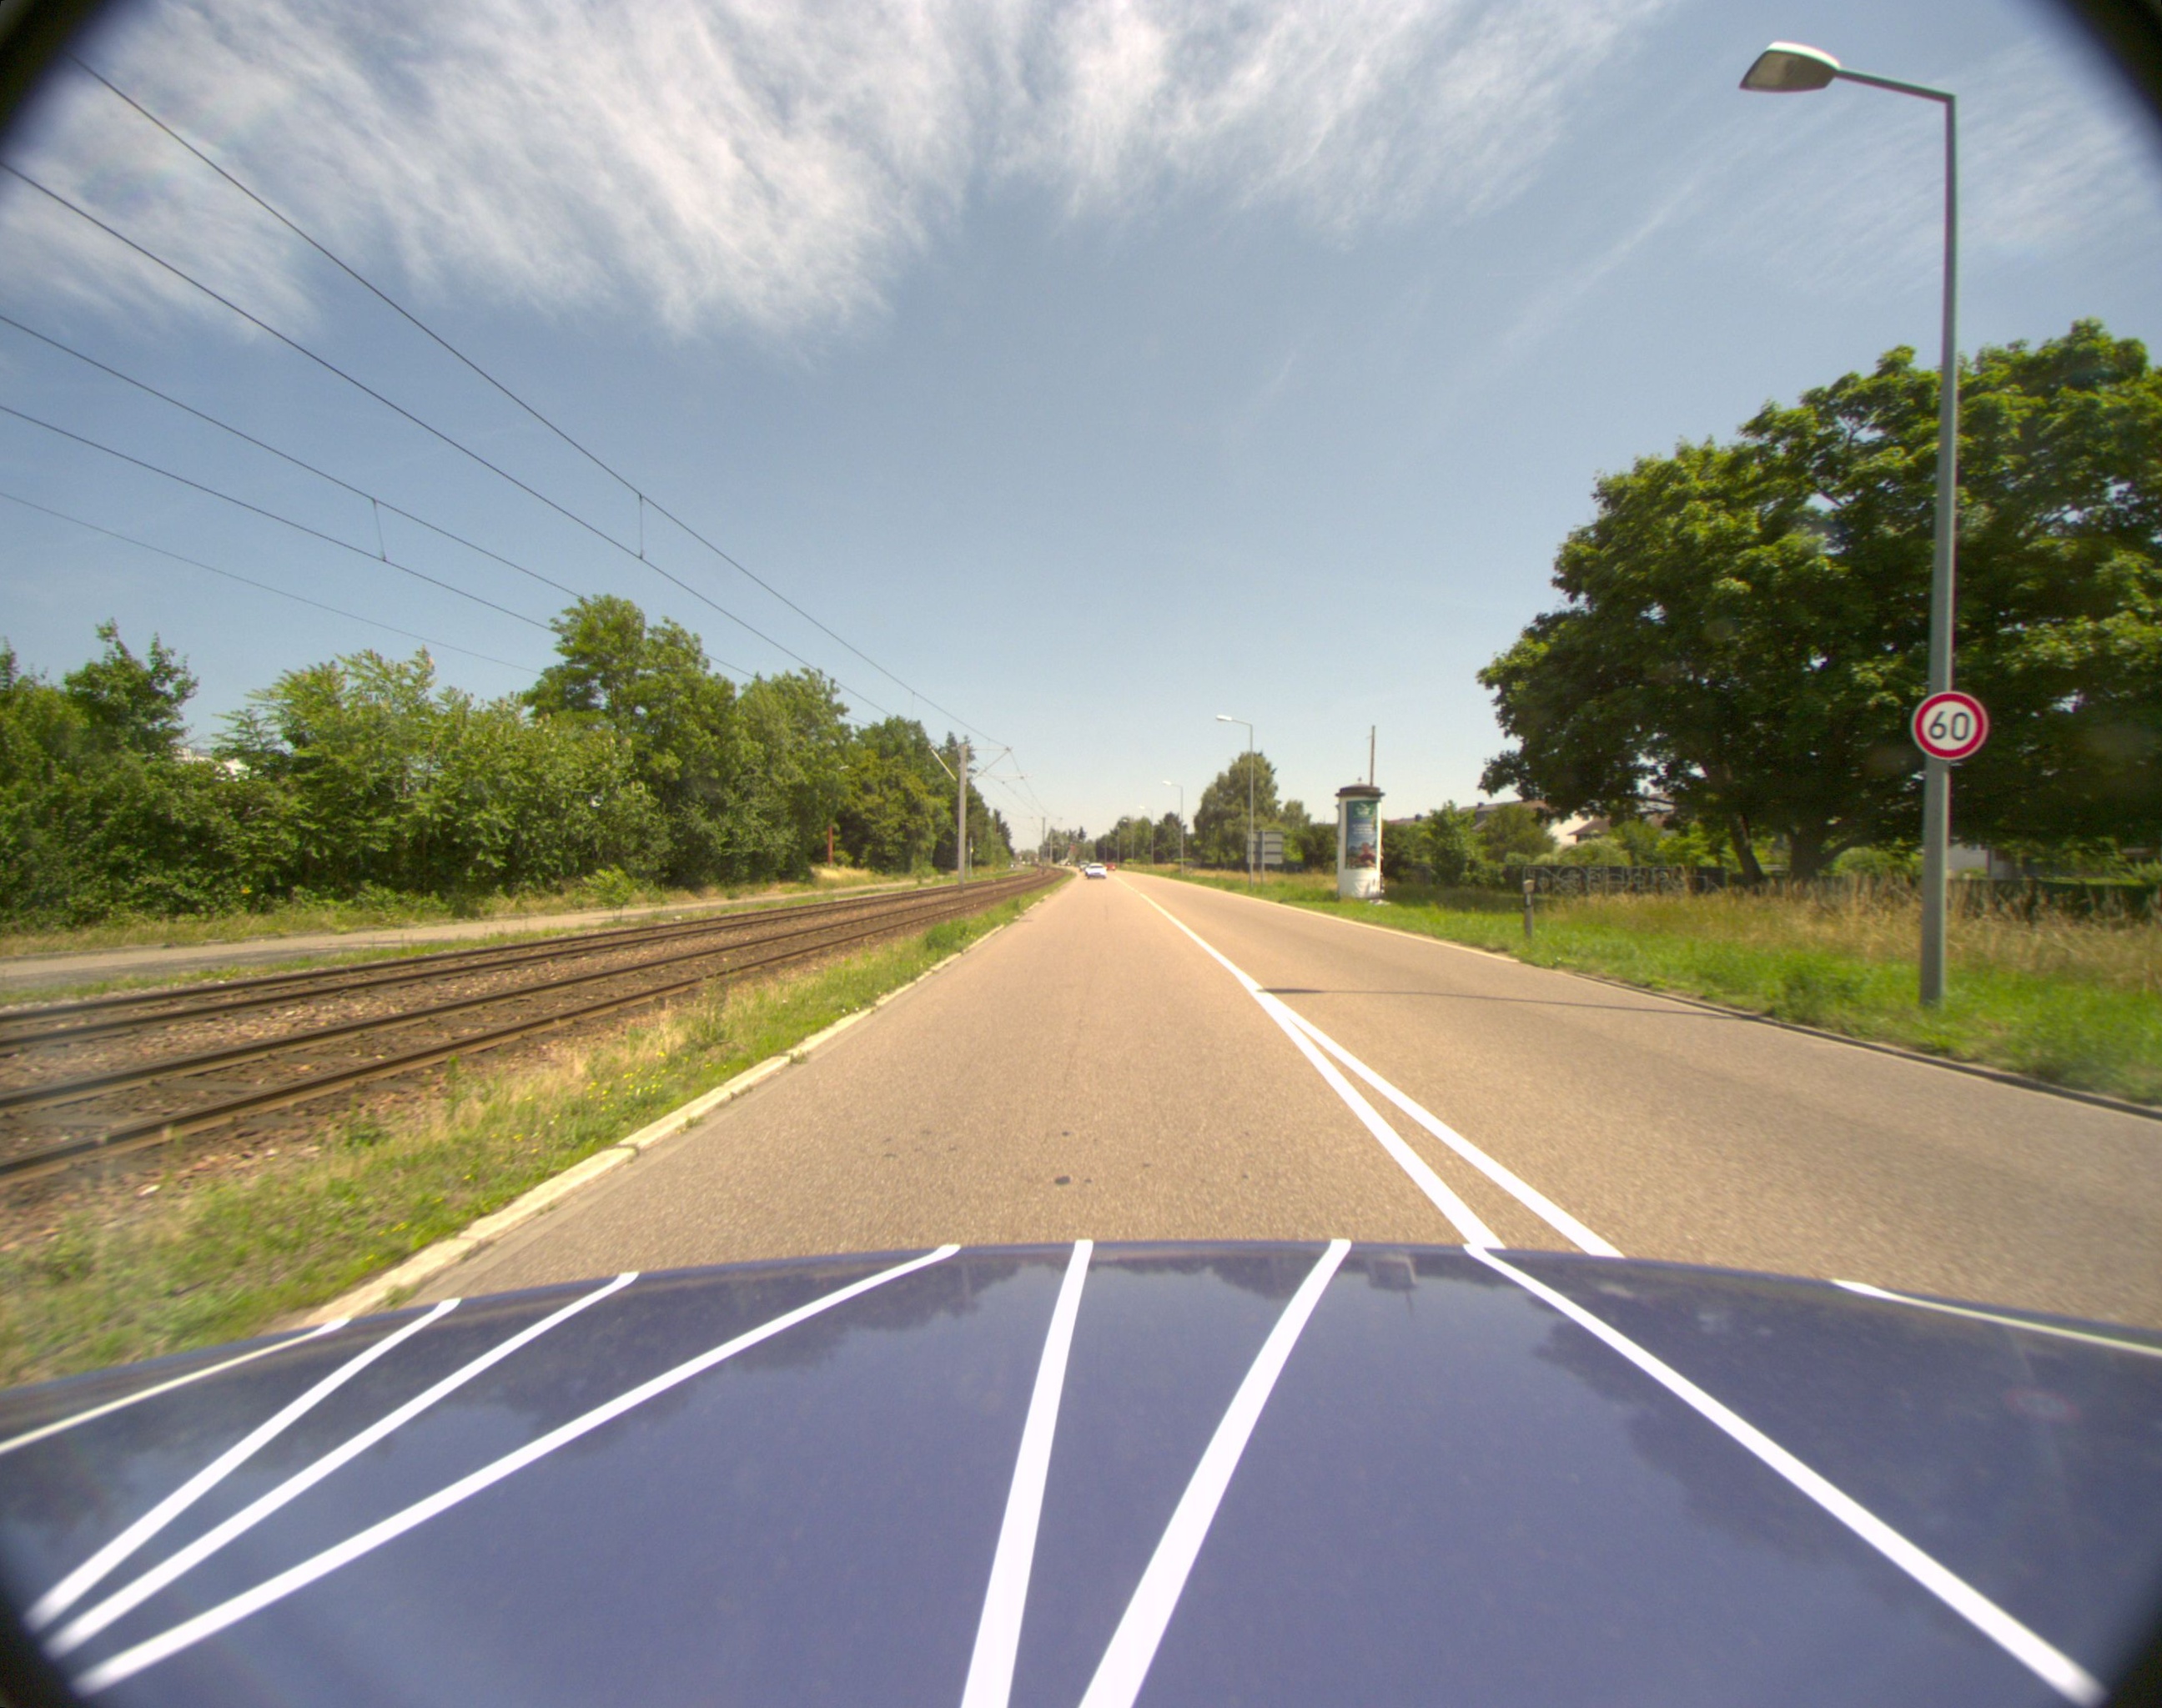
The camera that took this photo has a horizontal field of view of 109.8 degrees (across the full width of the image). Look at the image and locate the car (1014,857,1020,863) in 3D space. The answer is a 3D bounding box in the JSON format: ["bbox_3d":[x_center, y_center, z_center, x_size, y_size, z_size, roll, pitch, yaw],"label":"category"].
[{"bbox_3d":[-21.104,2.018,250.435,1.947,1.685,3.998,-3,0,-4],"label":"car"}]

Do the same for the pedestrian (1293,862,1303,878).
[{"bbox_3d":[18.211,1.345,63.748,0.582,1.347,0.799,0,0,3],"label":"pedestrian"}]

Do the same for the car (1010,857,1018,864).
[{"bbox_3d":[-19.222,1.829,218.041,1.999,1.710,3.999,-2,0,-2],"label":"car"}]

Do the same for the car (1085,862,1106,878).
[{"bbox_3d":[1.437,1.554,72.770,1.954,1.467,4.362,0,0,1],"label":"car"}]

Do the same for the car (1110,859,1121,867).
[{"bbox_3d":[6.213,1.687,136.834,1.683,1.390,4.000,-1,0,-1],"label":"car"}]

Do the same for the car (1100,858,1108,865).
[{"bbox_3d":[5.273,1.798,172.508,1.689,1.560,3.967,1,0,-1],"label":"car"}]
